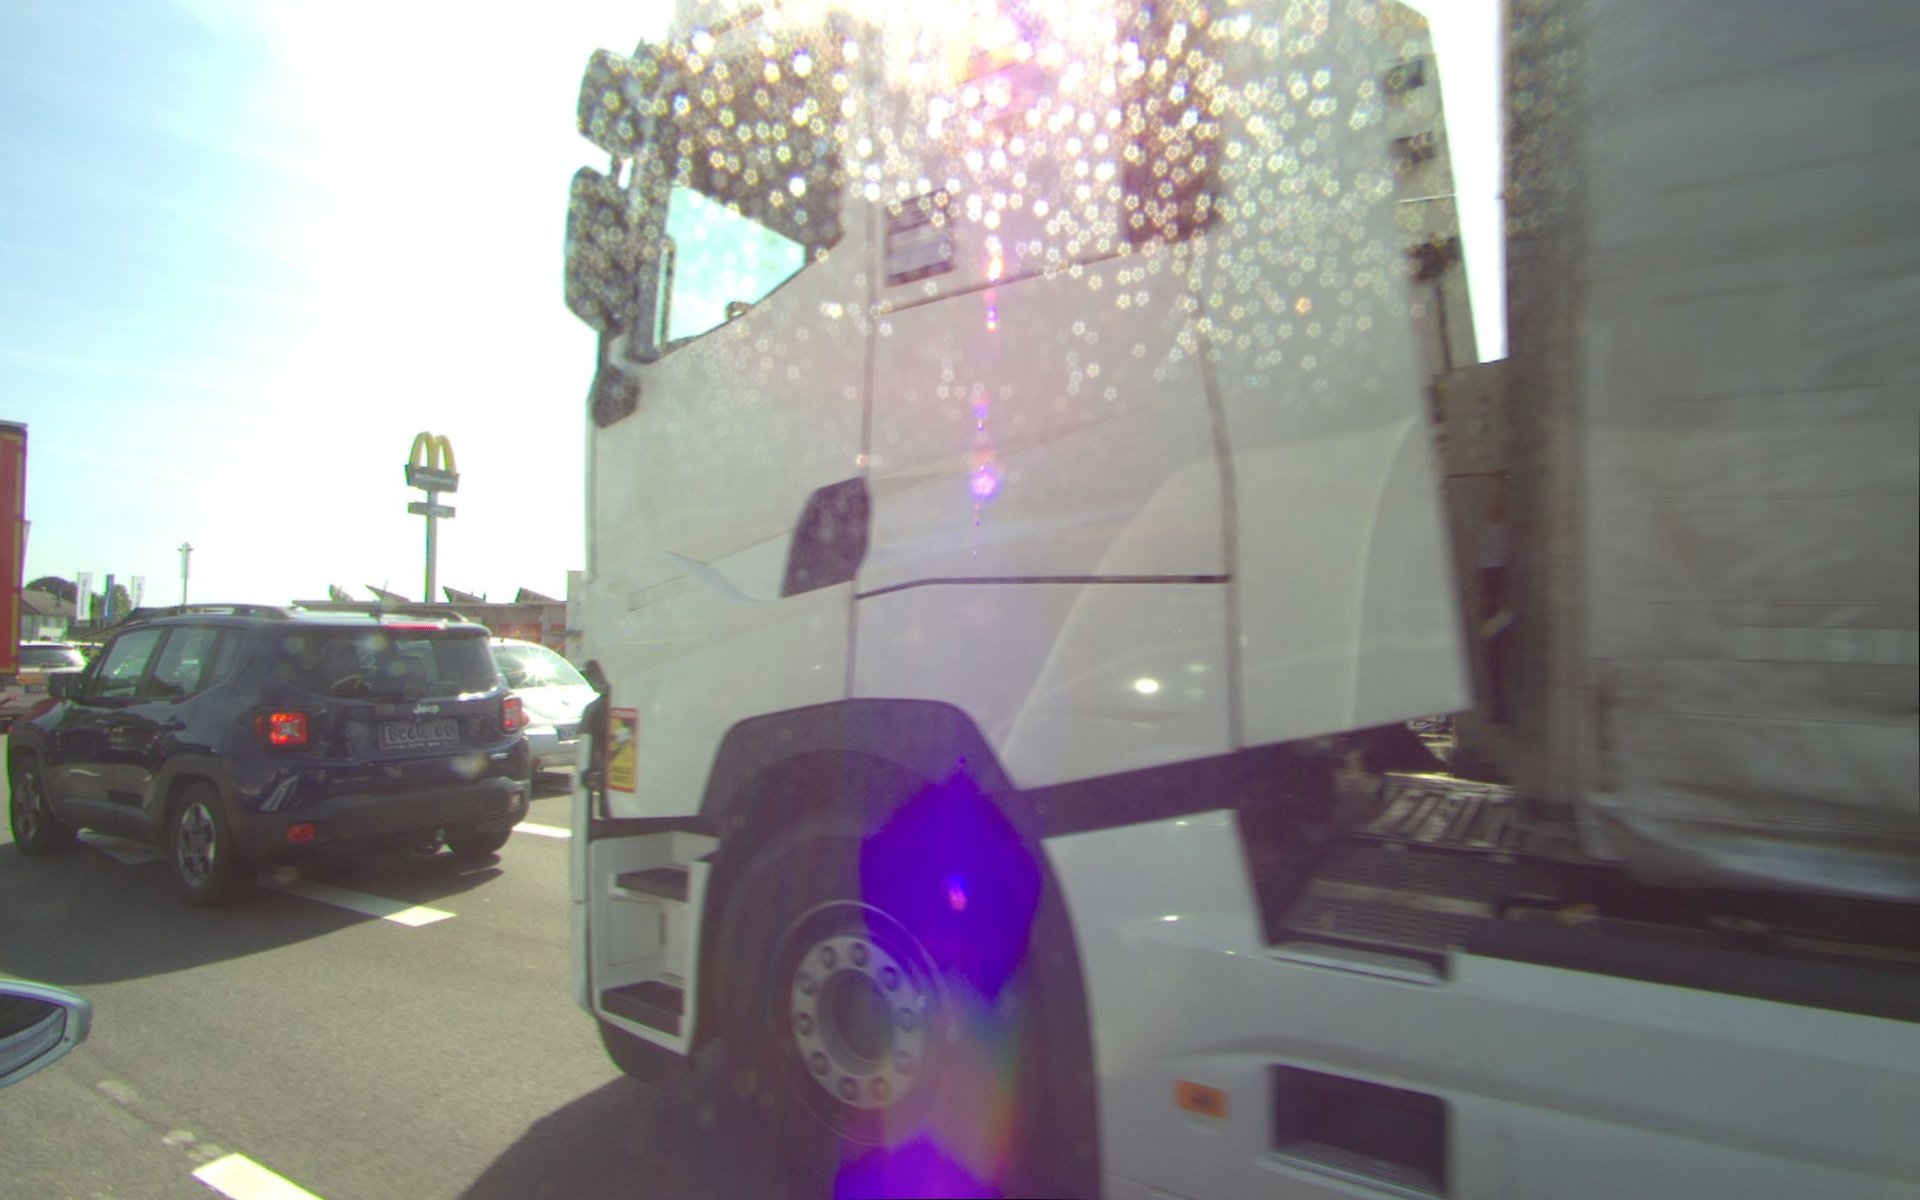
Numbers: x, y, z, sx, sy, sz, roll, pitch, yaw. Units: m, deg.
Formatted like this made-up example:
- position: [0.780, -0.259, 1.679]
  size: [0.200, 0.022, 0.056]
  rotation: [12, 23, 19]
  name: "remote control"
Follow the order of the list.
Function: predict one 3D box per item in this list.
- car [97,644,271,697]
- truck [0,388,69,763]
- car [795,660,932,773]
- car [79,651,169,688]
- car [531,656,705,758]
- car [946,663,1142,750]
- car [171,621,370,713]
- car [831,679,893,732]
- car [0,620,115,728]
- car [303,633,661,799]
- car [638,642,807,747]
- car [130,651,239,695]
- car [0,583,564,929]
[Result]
- position: [-24.410, 2.211, 31.610]
  size: [3.922, 1.550, 2.001]
  rotation: [1, -2, 2]
  name: "car"
- position: [-18.512, -0.220, 14.985]
  size: [16.340, 4.323, 2.954]
  rotation: [-1, -2, 31]
  name: "truck"
- position: [-1.337, 1.661, 15.287]
  size: [1.705, 1.420, 4.040]
  rotation: [1, -3, 0]
  name: "car"
- position: [-37.440, 3.093, 44.958]
  size: [1.709, 1.555, 4.030]
  rotation: [1, -3, -19]
  name: "car"
- position: [-5.893, 1.794, 17.771]
  size: [1.705, 1.555, 4.040]
  rotation: [1, -3, 0]
  name: "car"
- position: [1.930, 2.395, 23.382]
  size: [4.172, 1.777, 1.899]
  rotation: [-1, -3, 33]
  name: "car"
- position: [-15.860, 1.511, 23.289]
  size: [1.669, 1.945, 3.848]
  rotation: [1, -2, 6]
  name: "car"
- position: [-3.449, 3.583, 34.514]
  size: [1.706, 1.555, 4.036]
  rotation: [1, -3, -11]
  name: "car"
- position: [-16.587, 1.214, 17.410]
  size: [3.943, 1.706, 1.816]
  rotation: [-1, -2, 33]
  name: "car"
- position: [-5.217, 1.104, 10.791]
  size: [3.943, 1.490, 1.656]
  rotation: [-1, -2, 32]
  name: "car"
- position: [-3.560, 1.389, 15.765]
  size: [1.705, 1.420, 4.040]
  rotation: [1, -3, 0]
  name: "car"
- position: [-29.929, 2.781, 38.799]
  size: [1.706, 1.555, 4.036]
  rotation: [1, -3, -11]
  name: "car"
- position: [-4.710, 0.821, 6.779]
  size: [3.943, 1.706, 1.816]
  rotation: [-1, -2, 32]
  name: "car"
